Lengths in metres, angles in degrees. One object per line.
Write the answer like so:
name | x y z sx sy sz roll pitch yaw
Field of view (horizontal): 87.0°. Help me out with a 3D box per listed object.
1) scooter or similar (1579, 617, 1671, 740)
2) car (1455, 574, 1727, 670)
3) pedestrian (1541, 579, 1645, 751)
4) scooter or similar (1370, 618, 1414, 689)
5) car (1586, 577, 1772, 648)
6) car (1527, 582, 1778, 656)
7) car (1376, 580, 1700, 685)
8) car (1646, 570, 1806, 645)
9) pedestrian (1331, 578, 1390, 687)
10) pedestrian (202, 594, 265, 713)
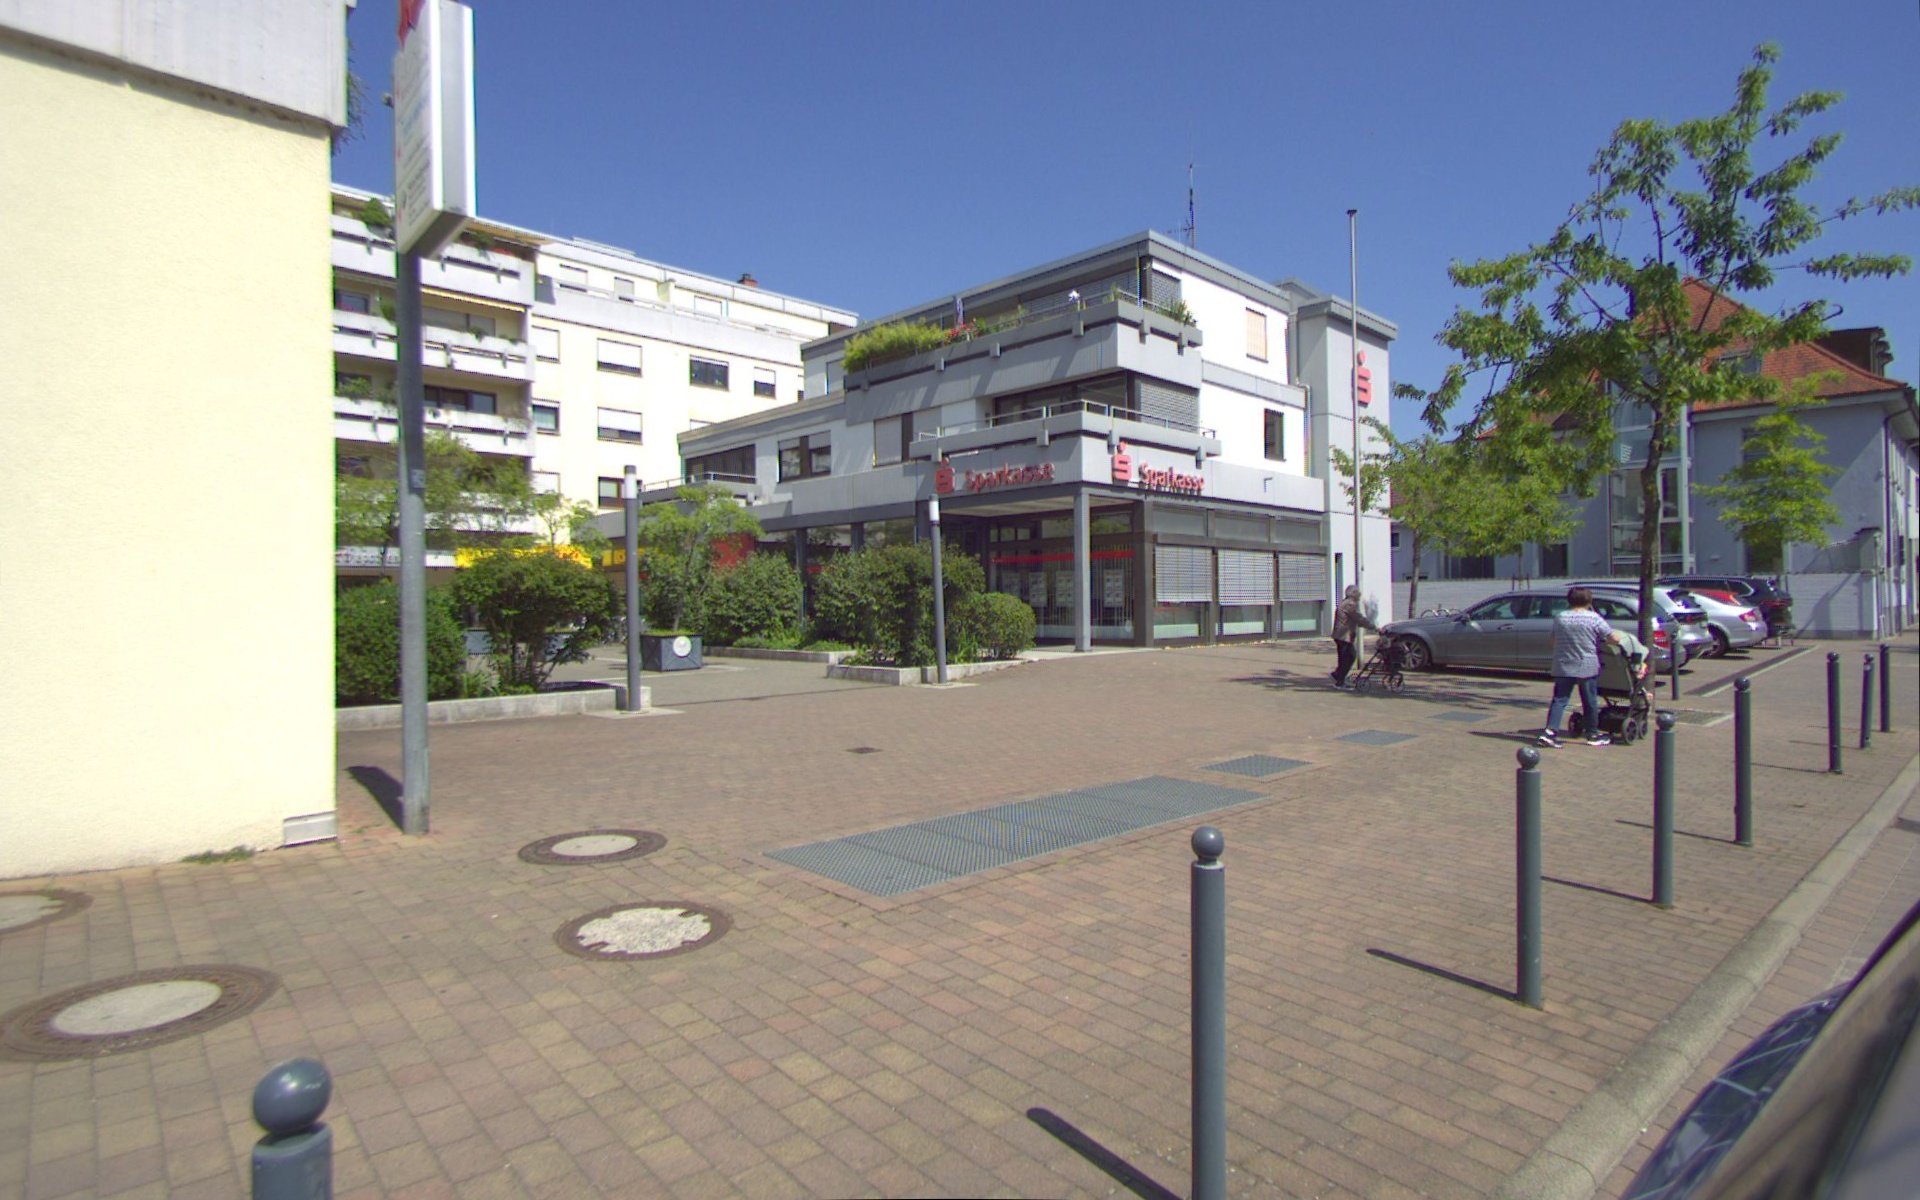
scooter or similar | 6.623 0.754 10.075 0.892 1.132 0.506 0 1 -38
car | 11.553 0.323 18.702 4.033 1.579 1.686 1 1 43
pedestrian | 5.998 0.579 9.576 1.029 1.535 0.513 0 1 -39
scooter or similar | 6.130 0.748 14.349 0.541 0.958 0.531 0 0 27
car | 17.052 0.258 24.091 3.421 1.571 1.467 0 0 45
car | 15.225 0.342 22.393 4.429 1.460 1.632 1 1 42
car | 9.455 0.432 16.820 4.432 1.484 1.664 2 2 44
car | 18.959 0.142 25.102 3.032 1.759 1.324 1 1 44
pedestrian | 5.761 0.454 14.551 0.718 1.520 0.526 0 0 29
pedestrian | -9.401 0.667 13.092 0.594 1.482 0.794 0 0 -40
